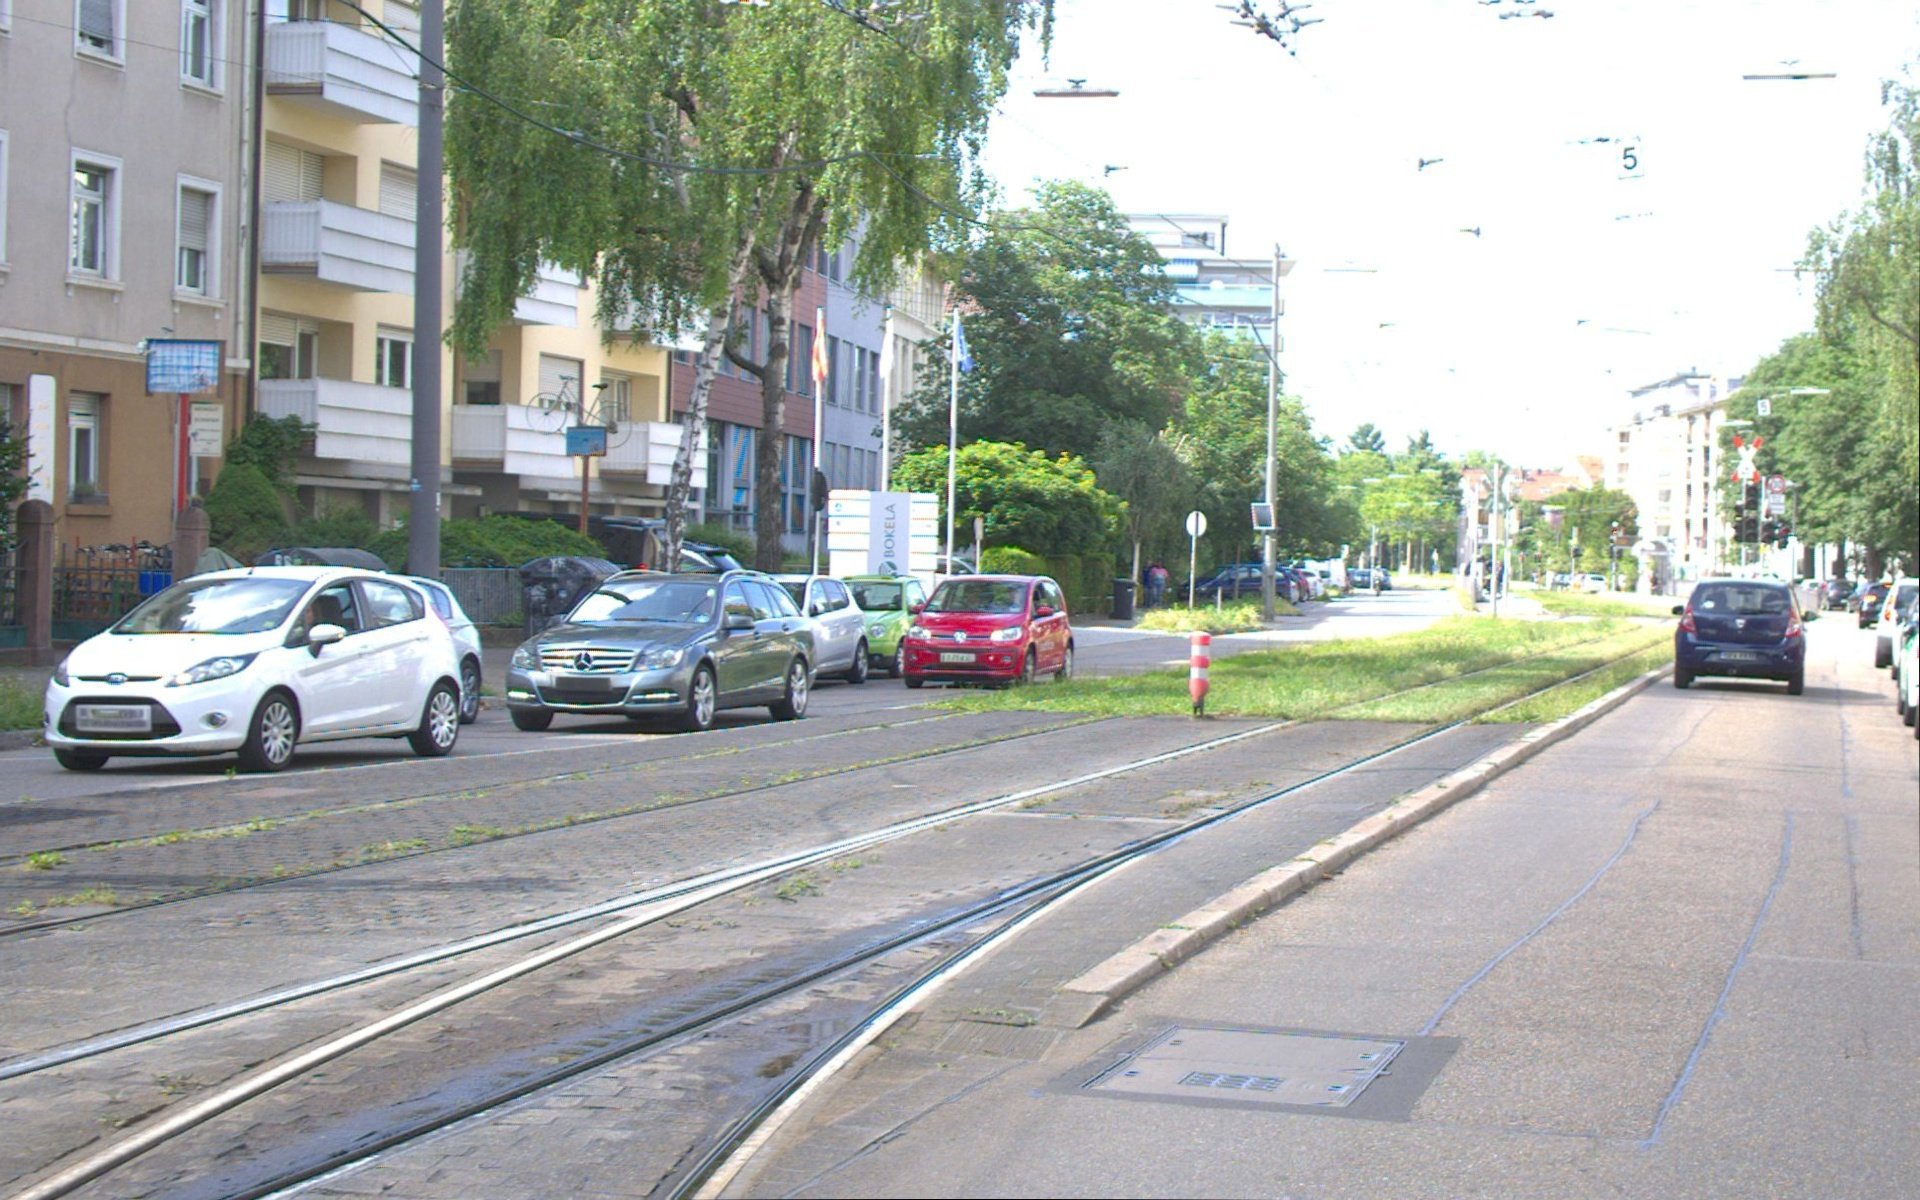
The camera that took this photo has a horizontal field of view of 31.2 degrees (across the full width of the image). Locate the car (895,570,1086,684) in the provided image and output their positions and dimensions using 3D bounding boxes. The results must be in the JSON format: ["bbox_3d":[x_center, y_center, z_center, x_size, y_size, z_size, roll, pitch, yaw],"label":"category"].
[{"bbox_3d":[0.438,0.320,44.493,1.580,1.382,3.690,1,1,15],"label":"car"}]

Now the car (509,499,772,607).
[{"bbox_3d":[-5.477,-0.806,59.093,3.990,1.596,1.971,4,1,15],"label":"car"}]

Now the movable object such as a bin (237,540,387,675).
[{"bbox_3d":[-7.139,0.075,37.946,0.951,1.362,1.521,7,2,14],"label":"movable object such as a bin"}]

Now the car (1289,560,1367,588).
[{"bbox_3d":[20.636,-1.464,192.713,3.986,1.442,1.728,1,1,-25],"label":"car"}]

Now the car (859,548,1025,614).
[{"bbox_3d":[-0.455,-0.499,90.387,3.989,1.590,1.999,2,1,12],"label":"car"}]

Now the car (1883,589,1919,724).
[{"bbox_3d":[11.530,0.674,39.504,1.621,1.447,3.916,5,2,14],"label":"car"}]

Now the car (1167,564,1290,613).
[{"bbox_3d":[9.643,-0.412,123.276,4.119,1.635,1.726,1,1,-30],"label":"car"}]

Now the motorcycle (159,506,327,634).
[{"bbox_3d":[-7.296,-0.308,35.109,0.901,1.238,2.294,2,1,9],"label":"motorcycle"}]

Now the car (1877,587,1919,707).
[{"bbox_3d":[12.737,0.624,44.370,1.590,1.447,3.842,5,2,14],"label":"car"}]

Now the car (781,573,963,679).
[{"bbox_3d":[-1.215,0.347,49.203,1.595,1.427,3.611,1,1,16],"label":"car"}]

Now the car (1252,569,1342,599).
[{"bbox_3d":[15.941,-0.736,162.651,3.987,1.363,1.716,0,1,-32],"label":"car"}]

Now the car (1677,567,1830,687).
[{"bbox_3d":[10.840,0.339,46.799,1.769,1.457,3.772,3,1,16],"label":"car"}]

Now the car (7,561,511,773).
[{"bbox_3d":[-4.989,0.451,25.069,1.757,1.410,4.129,0,0,19],"label":"car"}]

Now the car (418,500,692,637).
[{"bbox_3d":[-6.734,-0.526,57.254,3.991,2.007,1.935,4,1,18],"label":"car"}]

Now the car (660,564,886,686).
[{"bbox_3d":[-2.355,0.289,44.296,1.646,1.472,4.222,1,1,15],"label":"car"}]

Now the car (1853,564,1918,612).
[{"bbox_3d":[28.364,-0.378,105.402,1.701,1.363,3.512,3,1,13],"label":"car"}]

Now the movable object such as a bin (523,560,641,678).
[{"bbox_3d":[-4.840,0.233,44.105,0.951,1.425,1.521,4,1,14],"label":"movable object such as a bin"}]

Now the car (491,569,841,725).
[{"bbox_3d":[-2.655,0.411,32.154,1.756,1.351,4.508,0,0,16],"label":"car"}]

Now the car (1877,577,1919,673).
[{"bbox_3d":[17.486,0.465,61.679,1.723,1.624,3.997,4,1,17],"label":"car"}]

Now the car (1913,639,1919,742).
[{"bbox_3d":[10.150,0.669,32.845,1.793,1.515,4.523,4,2,14],"label":"car"}]

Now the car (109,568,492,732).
[{"bbox_3d":[-5.867,0.413,31.055,1.756,1.351,3.992,1,1,16],"label":"car"}]

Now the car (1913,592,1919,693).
[{"bbox_3d":[14.441,0.577,48.809,1.494,1.574,3.757,4,1,13],"label":"car"}]

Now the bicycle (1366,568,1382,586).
[{"bbox_3d":[23.392,-1.305,194.337,0.681,0.967,2.177,1,1,12],"label":"bicycle"}]
